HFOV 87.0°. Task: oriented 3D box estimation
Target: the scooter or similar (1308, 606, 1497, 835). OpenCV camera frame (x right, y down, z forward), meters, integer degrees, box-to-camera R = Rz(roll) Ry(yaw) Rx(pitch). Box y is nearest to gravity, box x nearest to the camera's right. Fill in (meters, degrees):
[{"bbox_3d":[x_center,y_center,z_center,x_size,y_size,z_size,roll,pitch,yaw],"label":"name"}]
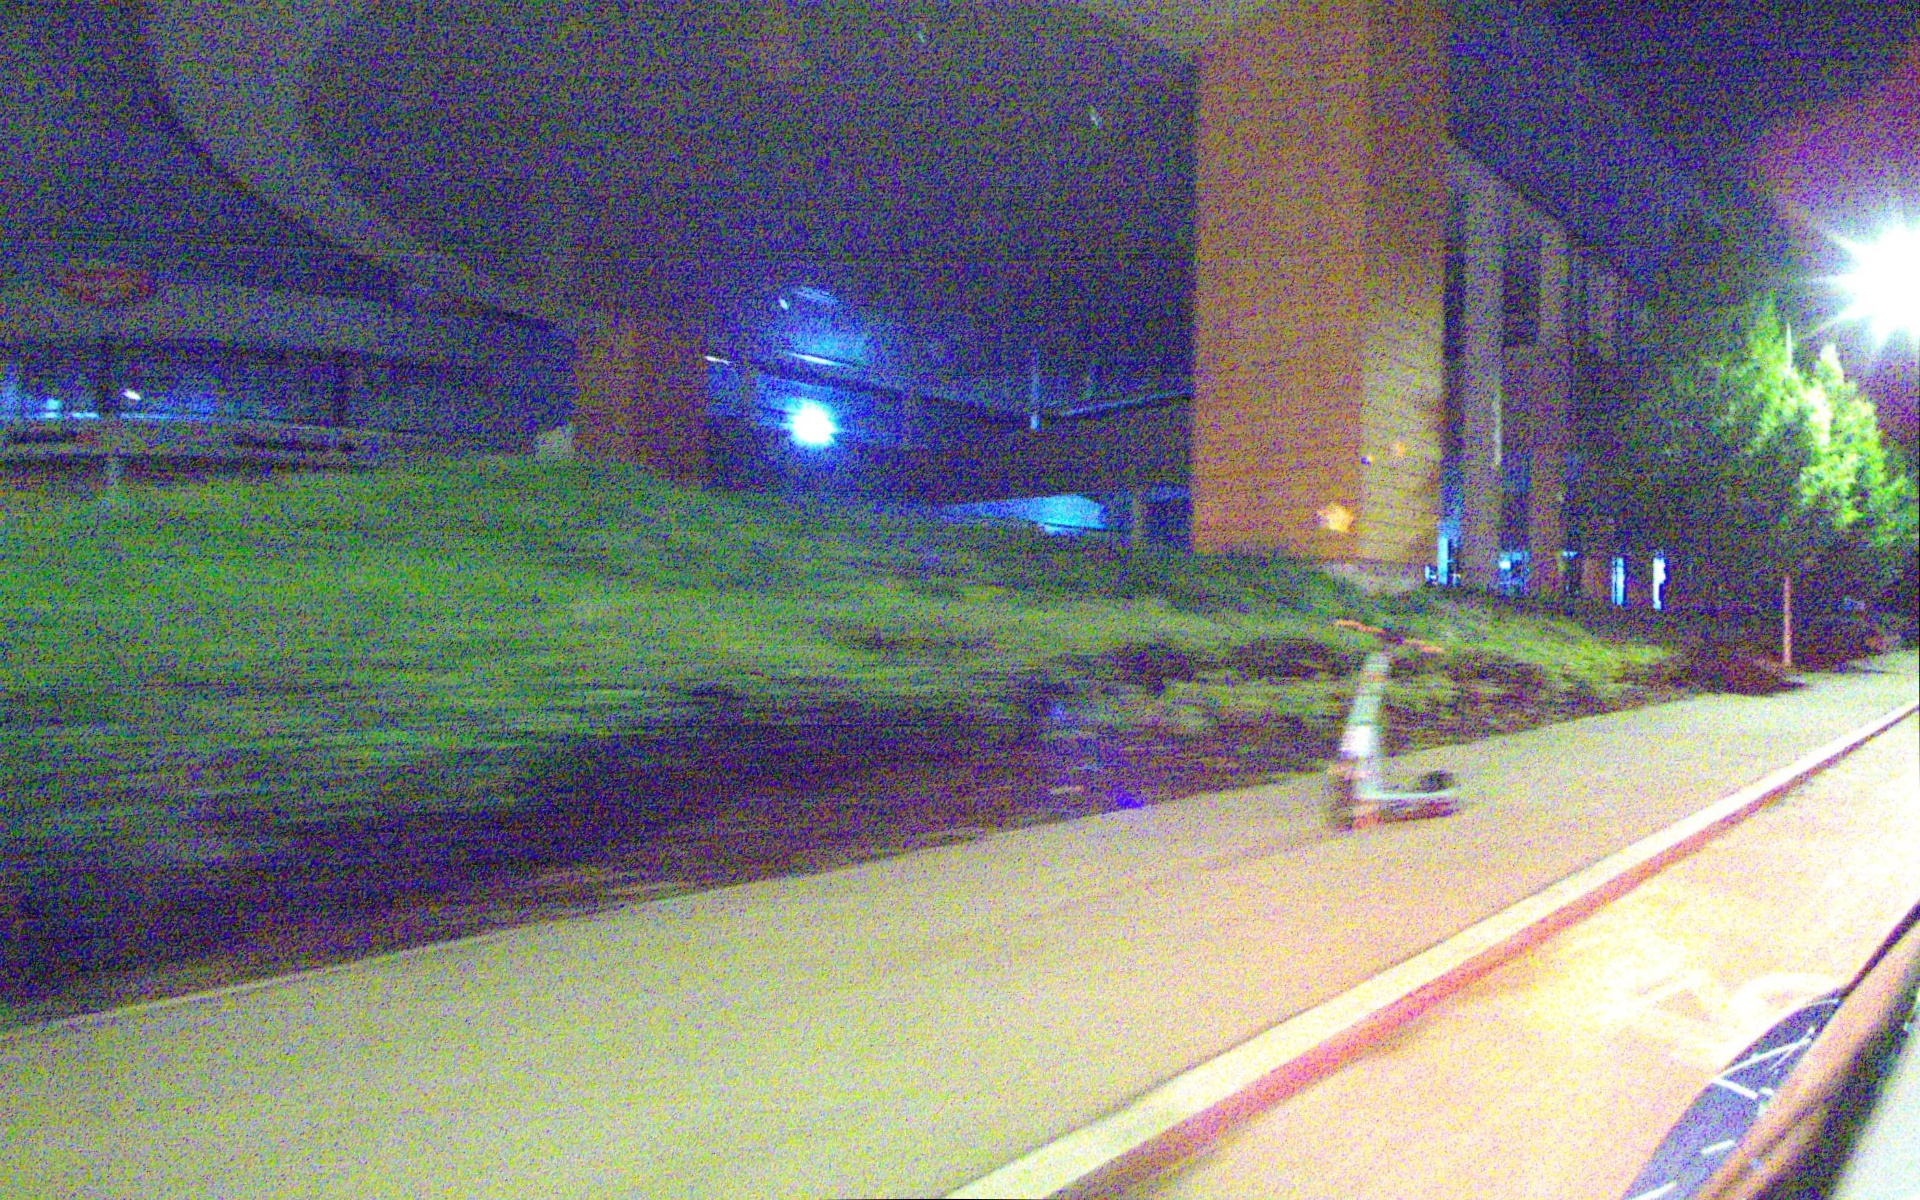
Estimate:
[{"bbox_3d":[2.793,0.690,6.341,1.296,1.277,0.495,1,3,-39],"label":"scooter or similar"}]
